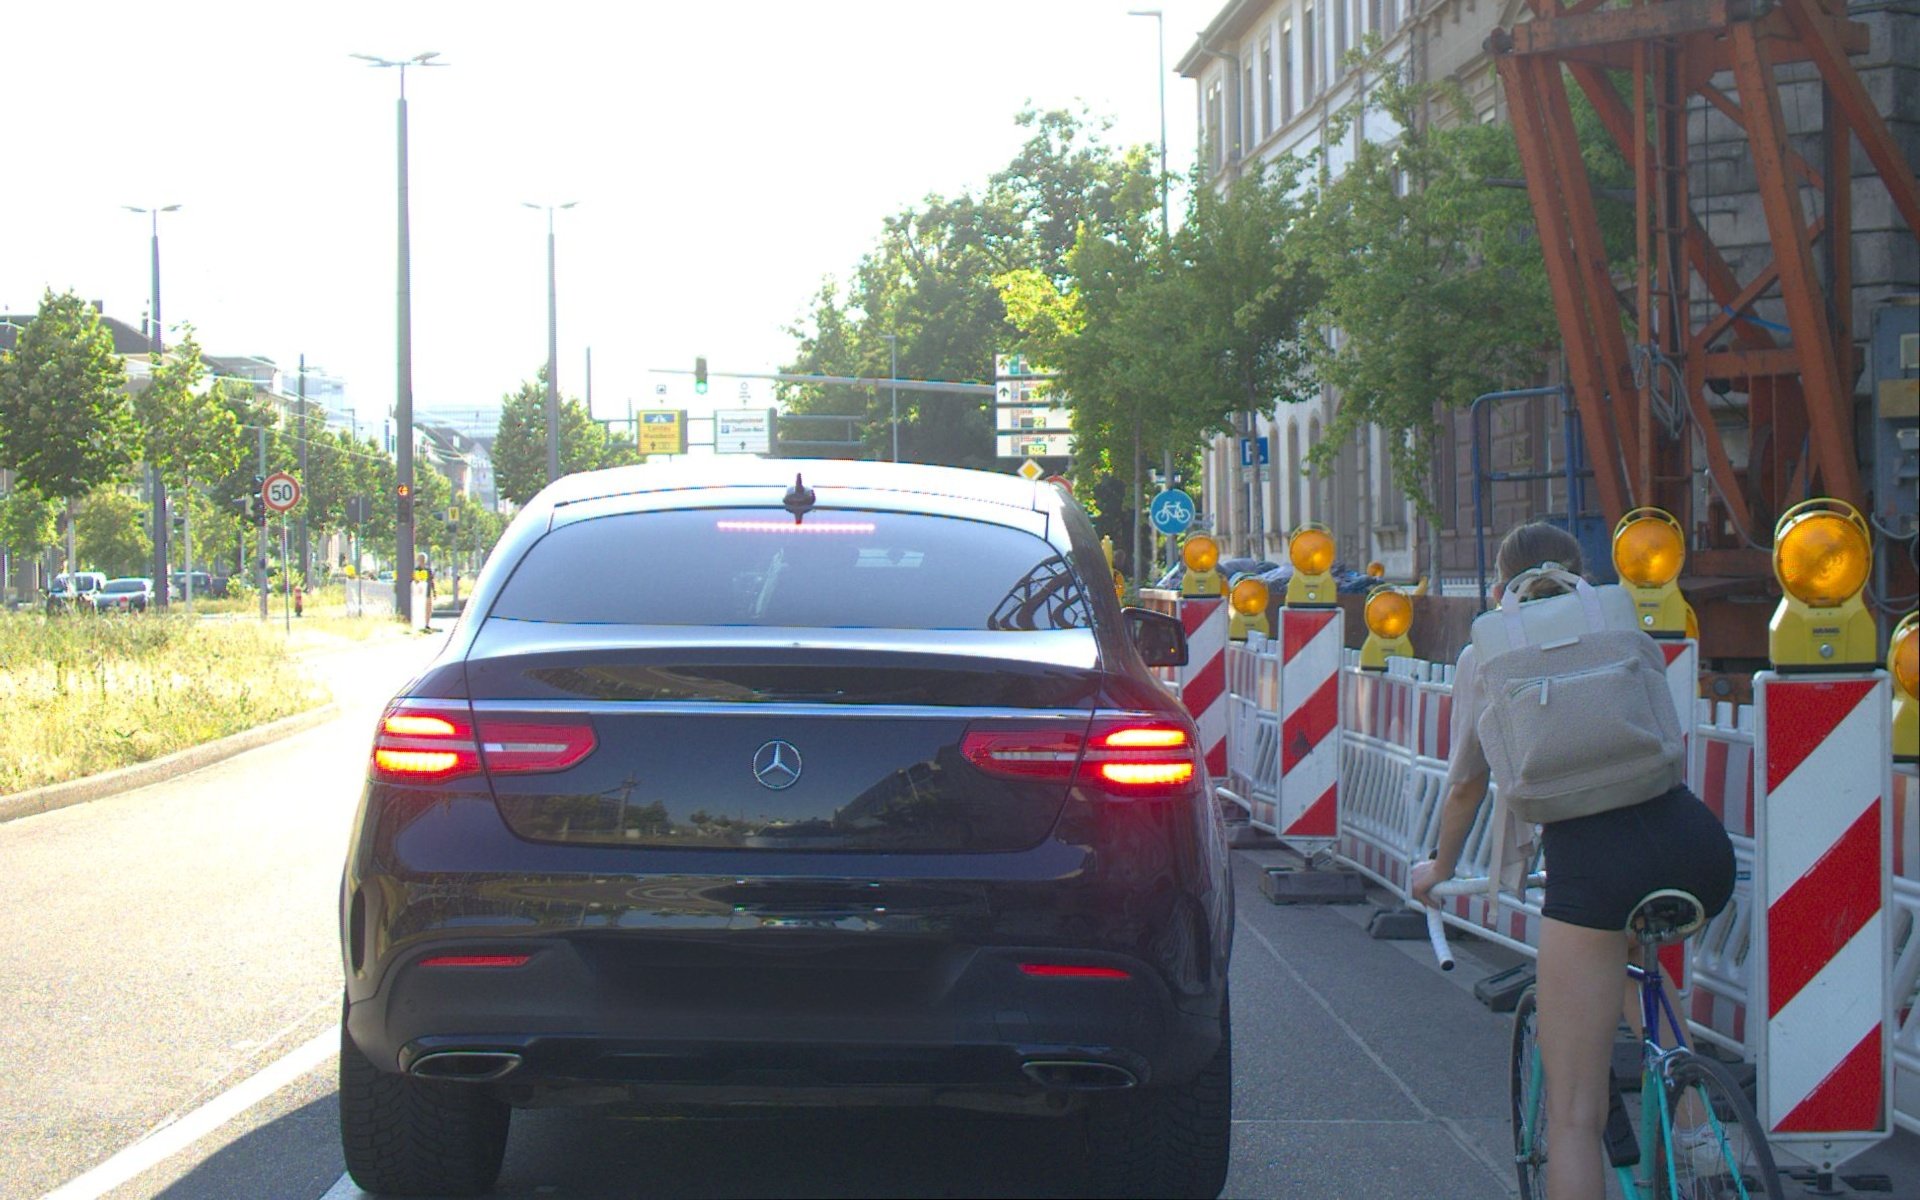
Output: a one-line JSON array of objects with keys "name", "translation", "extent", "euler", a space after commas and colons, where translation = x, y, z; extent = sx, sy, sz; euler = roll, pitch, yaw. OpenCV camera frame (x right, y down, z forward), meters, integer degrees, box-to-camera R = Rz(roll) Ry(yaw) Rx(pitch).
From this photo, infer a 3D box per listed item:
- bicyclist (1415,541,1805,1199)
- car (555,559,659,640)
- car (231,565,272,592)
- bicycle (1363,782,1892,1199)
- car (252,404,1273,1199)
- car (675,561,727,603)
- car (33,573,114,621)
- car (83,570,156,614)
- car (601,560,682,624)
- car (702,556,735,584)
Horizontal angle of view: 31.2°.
[{"name": "bicyclist", "translation": [1.126, 0.597, 6.049], "extent": [0.522, 1.391, 0.615], "euler": [1, 0, -3]}, {"name": "car", "translation": [-6.537, -0.023, 63.897], "extent": [1.708, 1.437, 3.583], "euler": [1, 1, -3]}, {"name": "car", "translation": [-39.494, -1.208, 191.763], "extent": [1.708, 1.437, 3.583], "euler": [1, 1, -3]}, {"name": "bicycle", "translation": [1.135, 0.910, 6.189], "extent": [0.512, 1.048, 1.725], "euler": [1, 1, -3]}, {"name": "car", "translation": [-0.414, 0.491, 8.789], "extent": [1.993, 1.766, 4.000], "euler": [1, 1, -1]}, {"name": "car", "translation": [-9.078, -0.630, 120.700], "extent": [1.708, 1.437, 3.583], "euler": [1, 1, -3]}, {"name": "car", "translation": [-31.550, -0.116, 122.442], "extent": [1.790, 1.678, 3.638], "euler": [1, 1, 2]}, {"name": "car", "translation": [-28.019, -0.274, 114.685], "extent": [1.708, 1.437, 3.583], "euler": [1, 1, -3]}, {"name": "car", "translation": [-7.461, -0.199, 80.760], "extent": [1.708, 1.437, 3.583], "euler": [1, 1, -3]}, {"name": "car", "translation": [-12.925, -1.607, 184.147], "extent": [1.708, 1.437, 3.583], "euler": [1, 1, -3]}]
